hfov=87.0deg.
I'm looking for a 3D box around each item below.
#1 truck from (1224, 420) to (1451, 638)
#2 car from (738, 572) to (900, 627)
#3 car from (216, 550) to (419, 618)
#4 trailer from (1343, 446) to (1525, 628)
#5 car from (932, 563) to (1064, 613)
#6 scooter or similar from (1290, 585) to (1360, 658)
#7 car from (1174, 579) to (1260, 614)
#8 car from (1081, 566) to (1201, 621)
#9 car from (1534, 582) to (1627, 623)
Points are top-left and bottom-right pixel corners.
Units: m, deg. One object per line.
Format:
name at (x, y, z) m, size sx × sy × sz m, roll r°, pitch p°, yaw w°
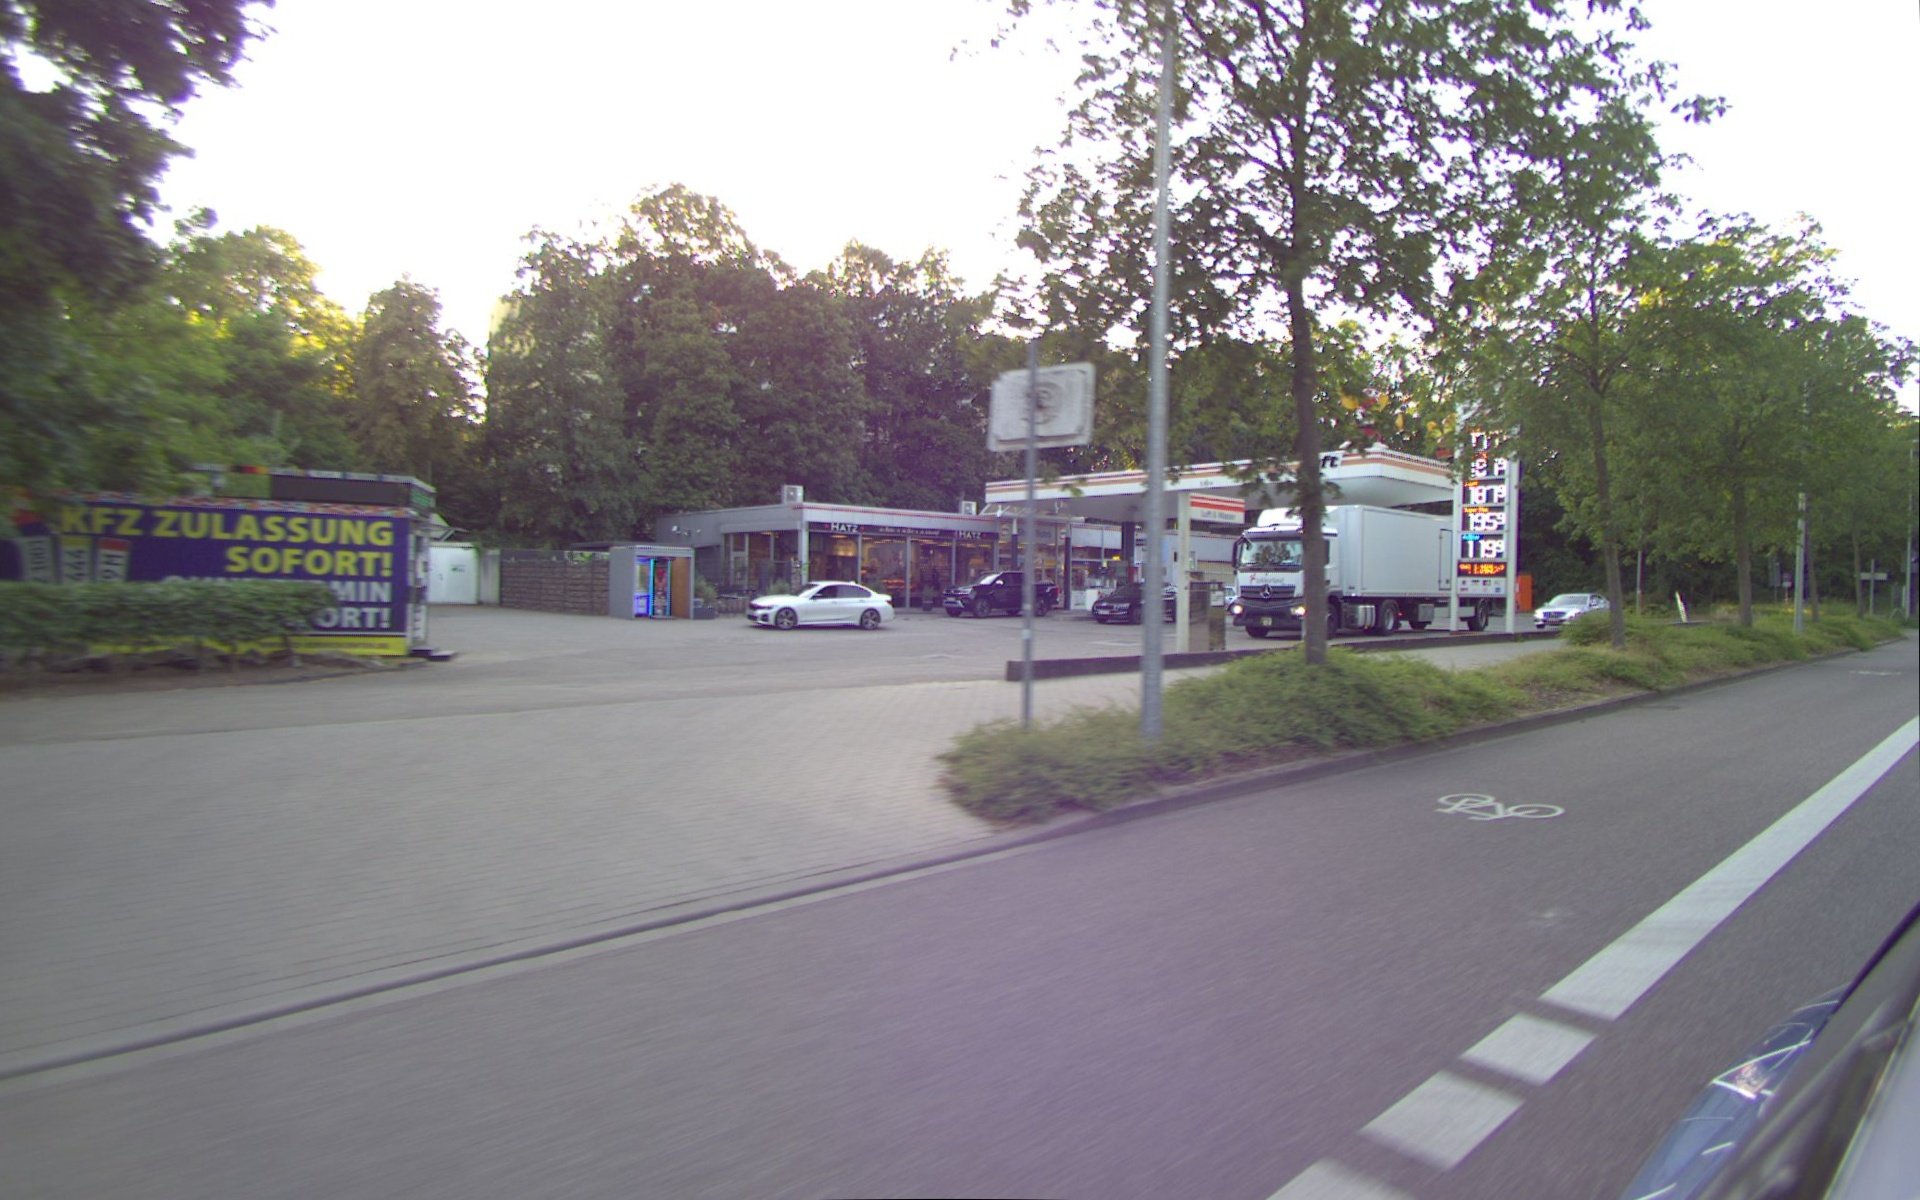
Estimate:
truck at (11.261, -1.887, 29.621) m, size 8.272 × 5.524 × 3.035 m, roll -1°, pitch 1°, yaw -44°
car at (-4.334, -0.033, 31.284) m, size 4.605 × 1.537 × 1.794 m, roll 0°, pitch 3°, yaw -32°
car at (-17.763, -0.432, 28.278) m, size 4.601 × 1.727 × 1.928 m, roll 1°, pitch 3°, yaw -27°
trailer at (16.283, -1.930, 34.461) m, size 7.803 × 5.530 × 3.023 m, roll 0°, pitch 1°, yaw -44°
car at (1.595, -0.482, 40.767) m, size 5.405 × 1.888 × 1.952 m, roll 0°, pitch 1°, yaw -41°
scooter or similar at (6.873, 0.383, 19.024) m, size 1.443 × 1.298 × 0.598 m, roll 0°, pitch 1°, yaw -41°
car at (12.847, -0.219, 50.632) m, size 4.073 × 1.540 × 1.666 m, roll 2°, pitch 2°, yaw 15°
car at (6.655, -0.296, 36.993) m, size 4.595 × 1.888 × 1.875 m, roll -2°, pitch 3°, yaw -41°
car at (26.003, 0.096, 42.352) m, size 4.730 × 1.603 × 1.774 m, roll 0°, pitch 0°, yaw -38°
